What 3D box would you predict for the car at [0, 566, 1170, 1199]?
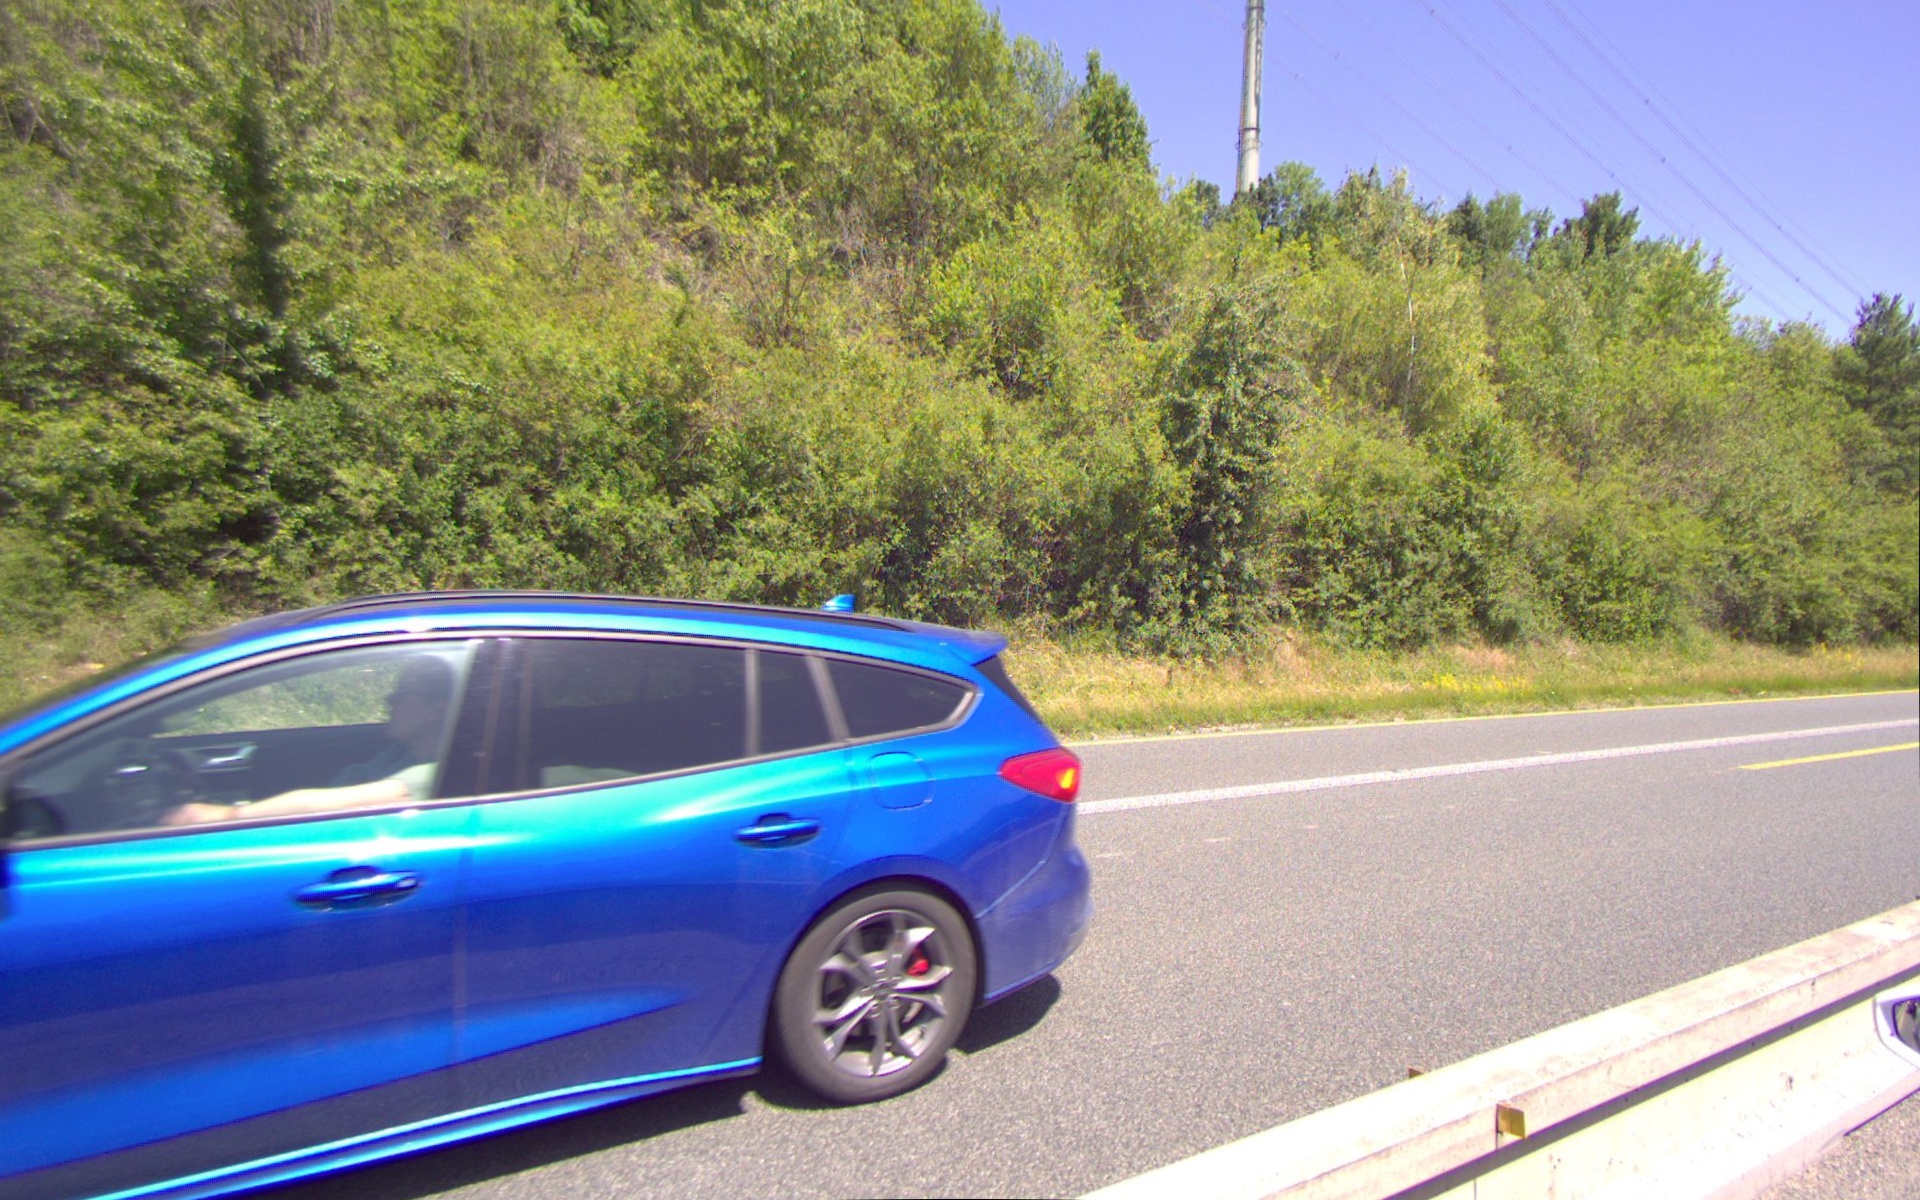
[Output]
[{"bbox_3d":[-1.501,0.670,3.038,4.123,1.444,1.703,2,0,-31],"label":"car"}]
